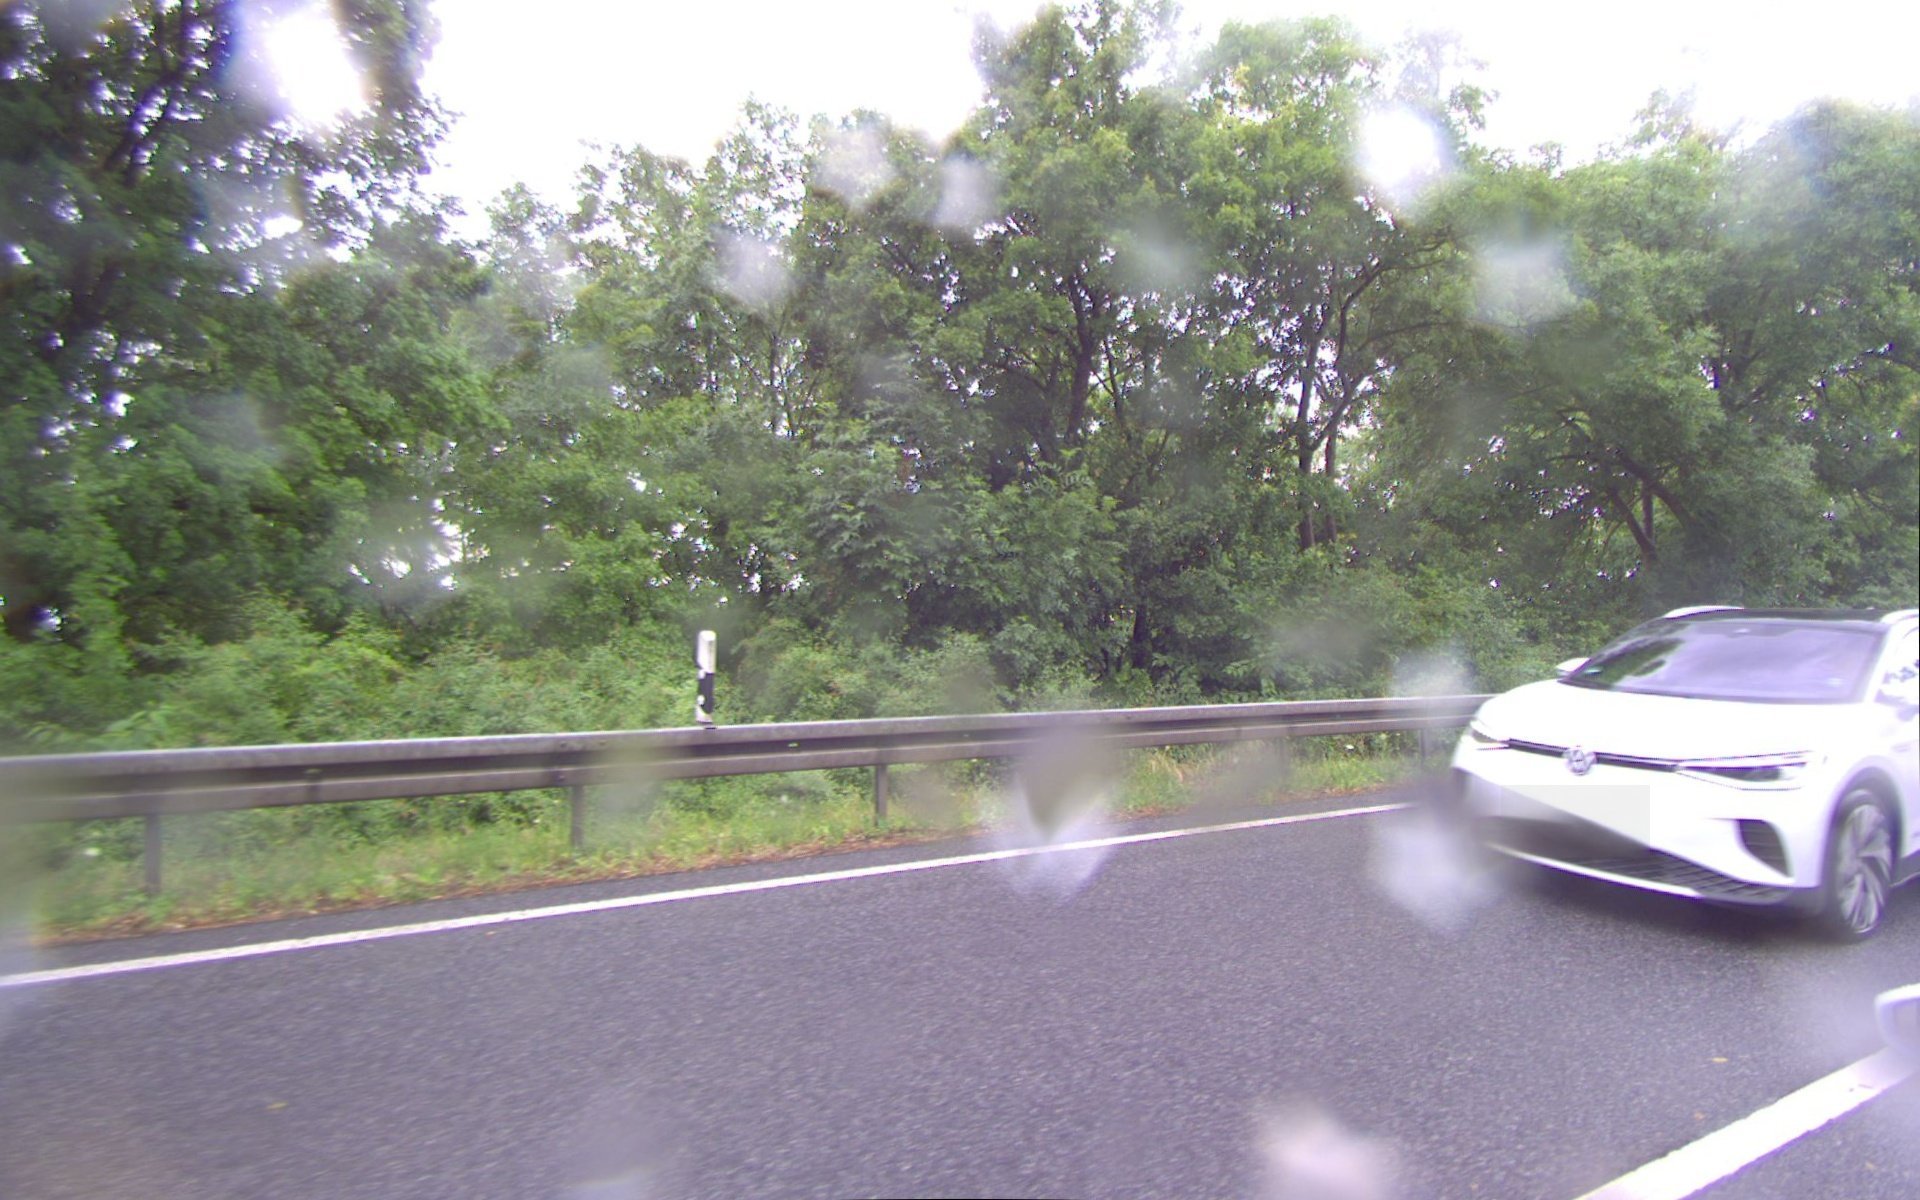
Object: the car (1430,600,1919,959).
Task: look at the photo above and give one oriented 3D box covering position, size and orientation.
[{"bbox_3d":[5.018,0.829,6.178,4.156,1.552,1.798,1,-1,-30],"label":"car"}]
